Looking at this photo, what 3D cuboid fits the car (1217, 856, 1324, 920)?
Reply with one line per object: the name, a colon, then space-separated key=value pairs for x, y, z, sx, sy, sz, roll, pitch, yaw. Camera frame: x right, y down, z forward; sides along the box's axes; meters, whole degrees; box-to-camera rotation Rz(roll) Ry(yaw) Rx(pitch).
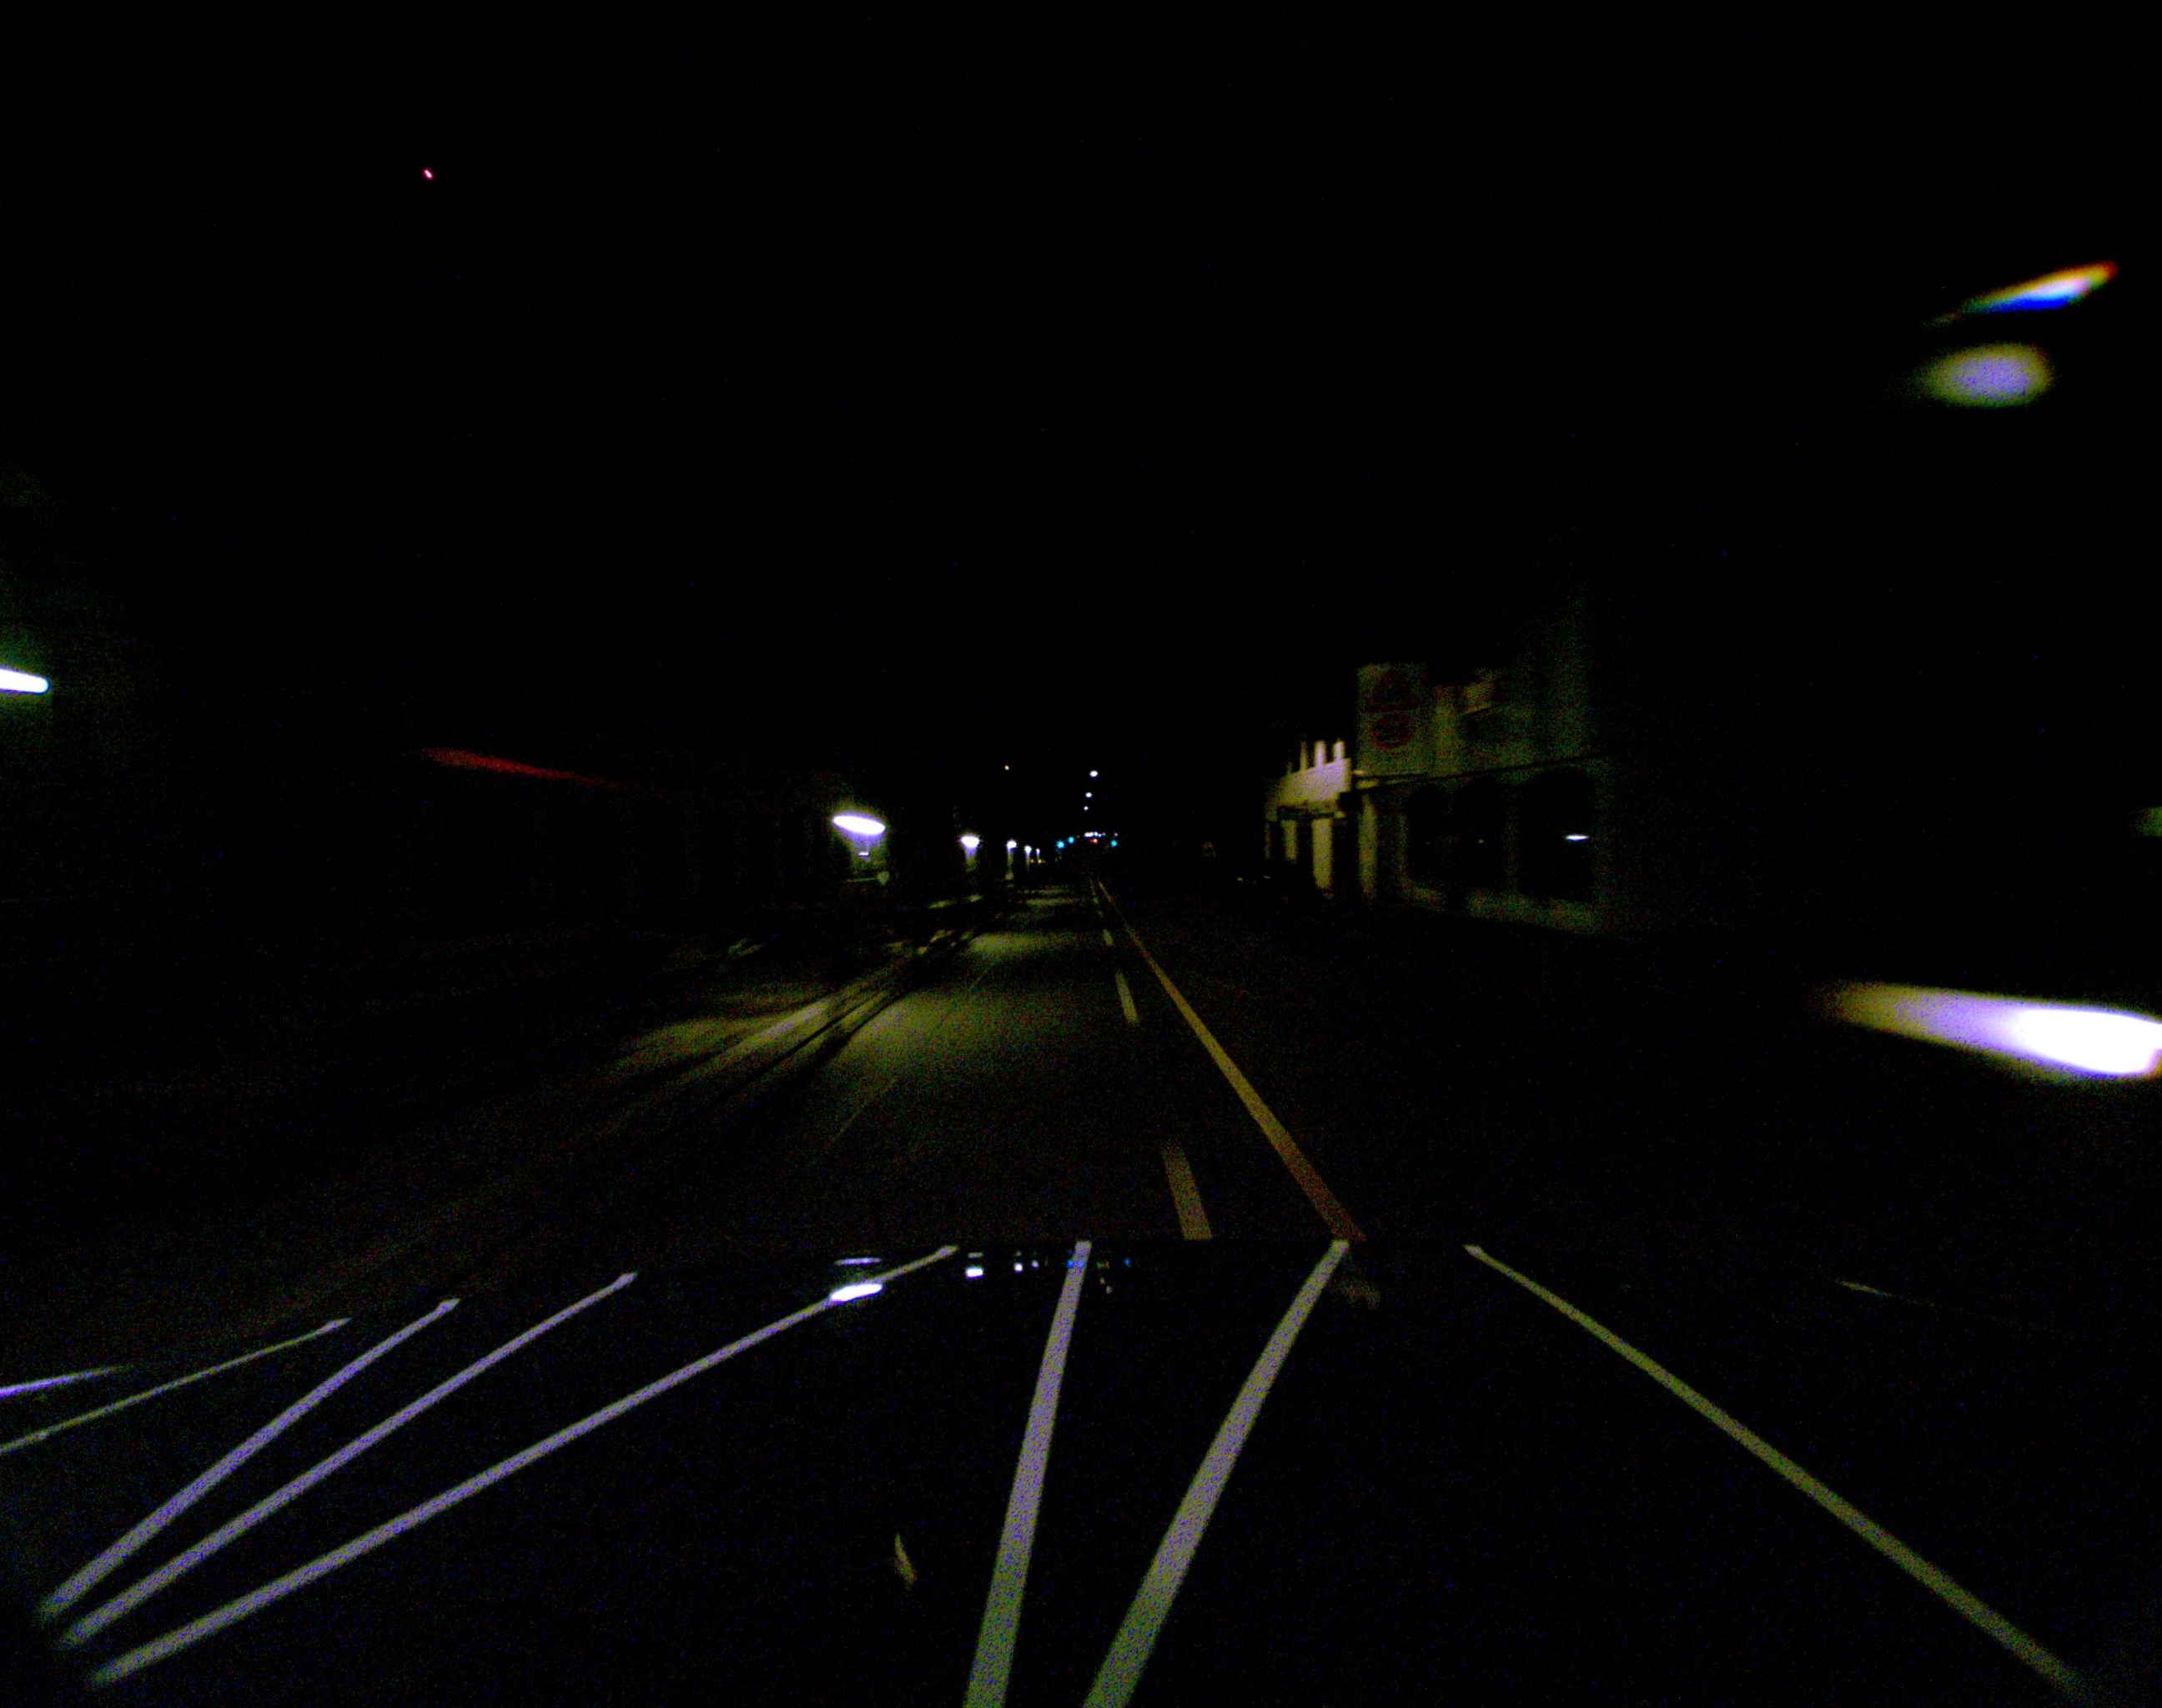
car: x=5.003 y=0.833 z=20.636 sx=1.731 sy=1.477 sz=4.291 roll=-2 pitch=0 yaw=-1
